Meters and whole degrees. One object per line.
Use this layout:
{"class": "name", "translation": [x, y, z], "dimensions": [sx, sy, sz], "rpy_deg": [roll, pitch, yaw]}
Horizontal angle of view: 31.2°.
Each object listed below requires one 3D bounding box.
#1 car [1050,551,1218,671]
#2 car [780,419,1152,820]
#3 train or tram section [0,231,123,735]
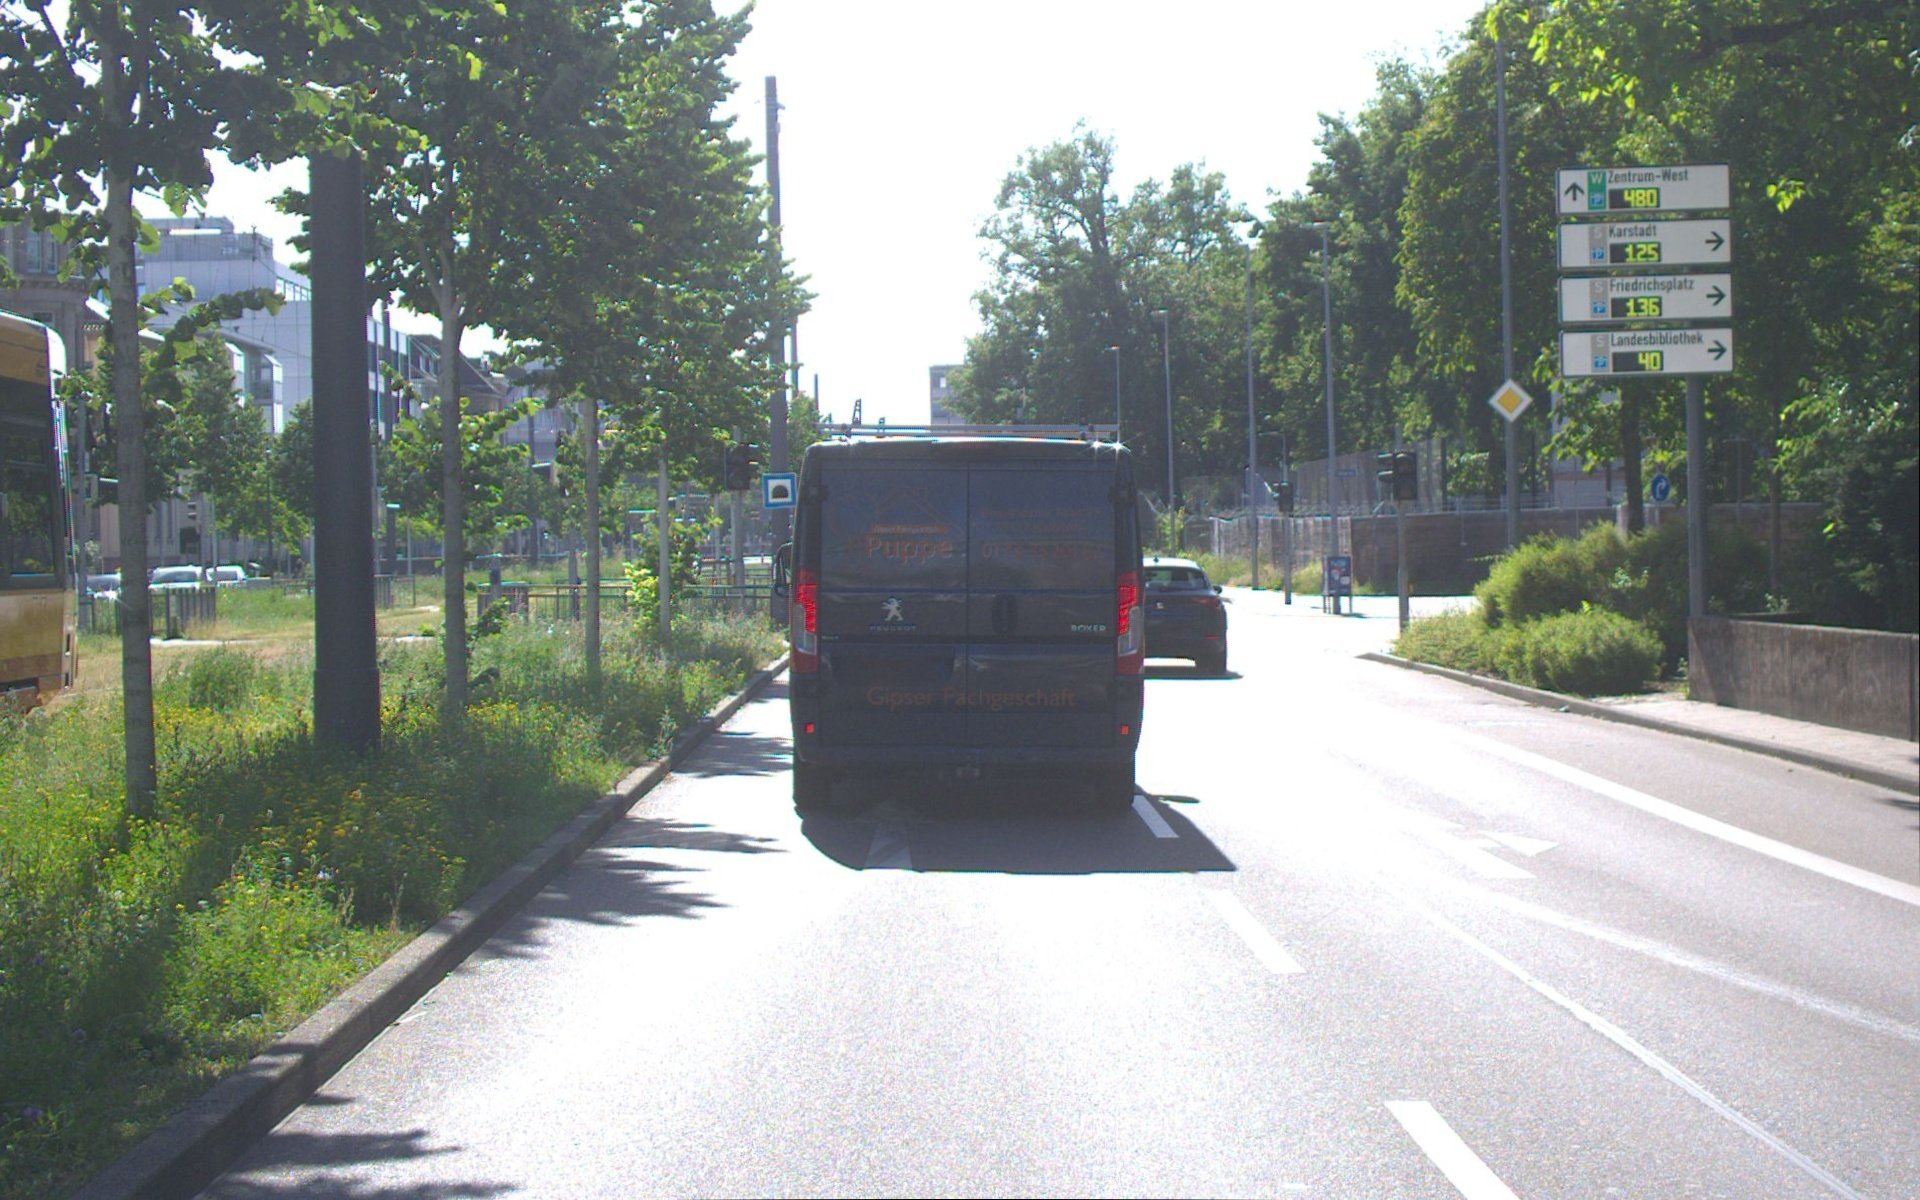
{"class": "car", "translation": [2.186, 0.104, 44.139], "dimensions": [1.763, 1.457, 4.001], "rpy_deg": [0, 1, -3]}
{"class": "car", "translation": [-0.020, 0.078, 21.229], "dimensions": [2.082, 2.241, 4.000], "rpy_deg": [0, 1, -2]}
{"class": "train or tram section", "translation": [-7.934, -0.820, 22.949], "dimensions": [1.993, 3.656, 11.684], "rpy_deg": [0, 1, -1]}
